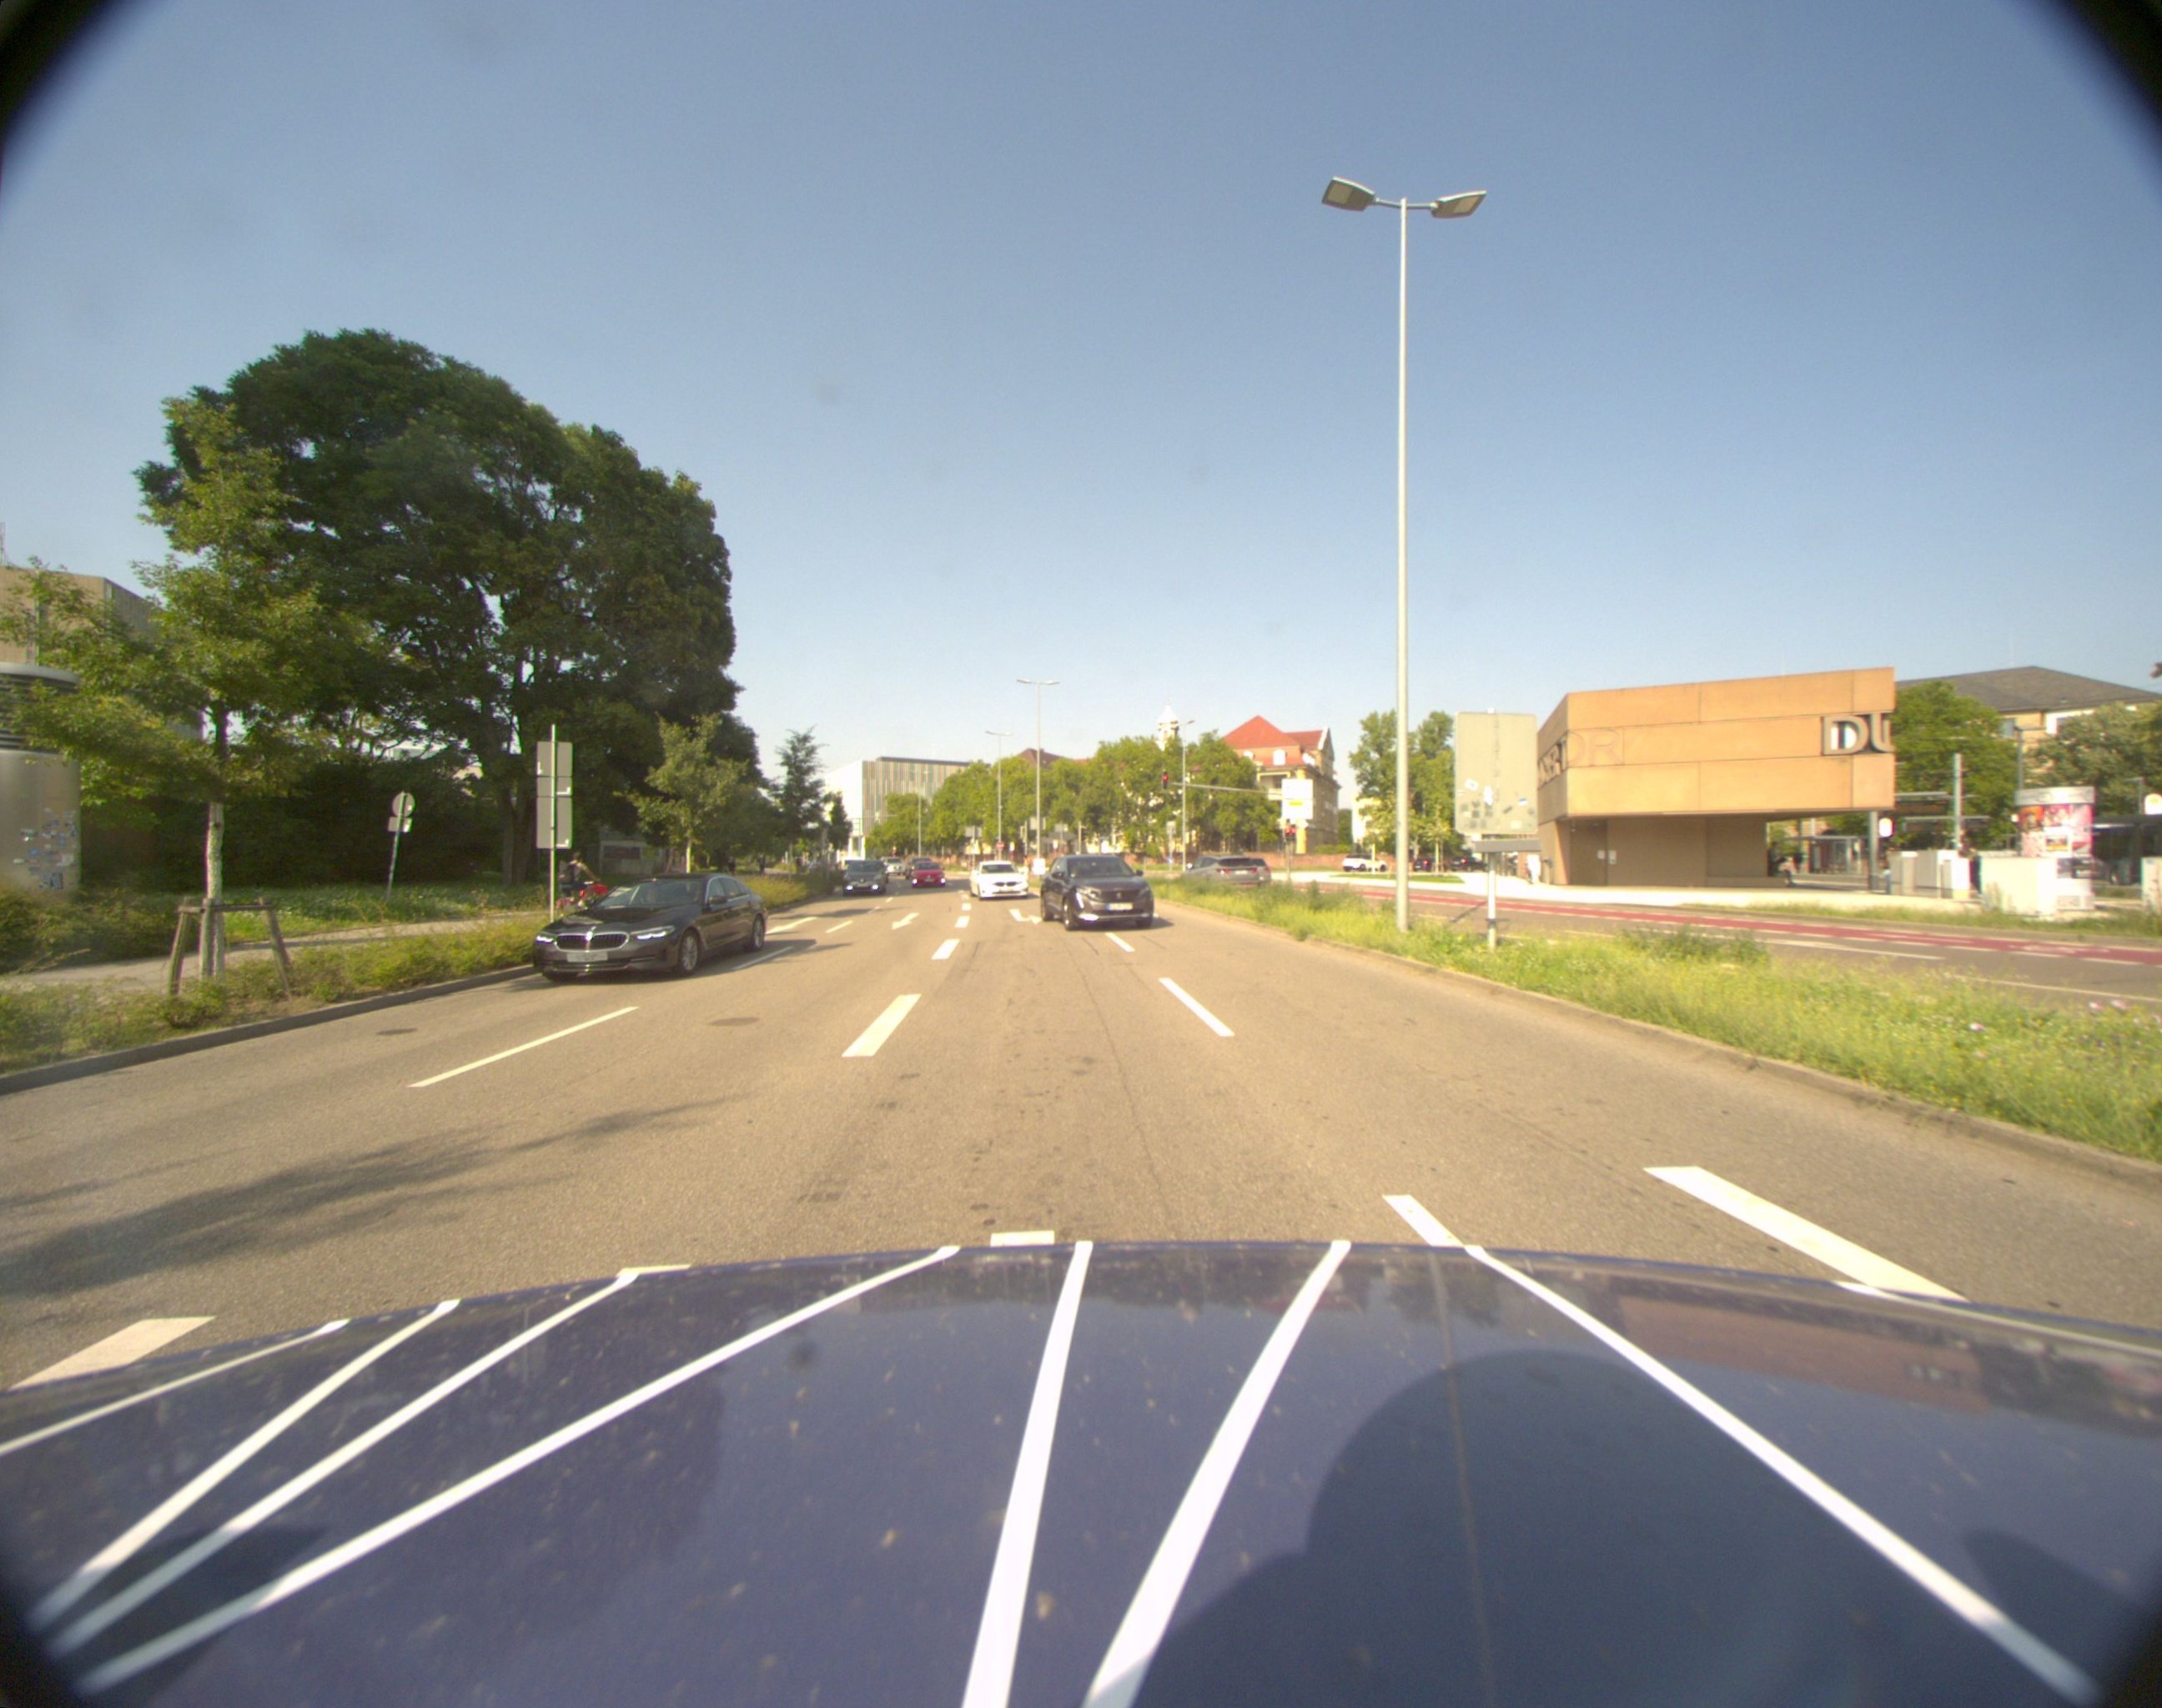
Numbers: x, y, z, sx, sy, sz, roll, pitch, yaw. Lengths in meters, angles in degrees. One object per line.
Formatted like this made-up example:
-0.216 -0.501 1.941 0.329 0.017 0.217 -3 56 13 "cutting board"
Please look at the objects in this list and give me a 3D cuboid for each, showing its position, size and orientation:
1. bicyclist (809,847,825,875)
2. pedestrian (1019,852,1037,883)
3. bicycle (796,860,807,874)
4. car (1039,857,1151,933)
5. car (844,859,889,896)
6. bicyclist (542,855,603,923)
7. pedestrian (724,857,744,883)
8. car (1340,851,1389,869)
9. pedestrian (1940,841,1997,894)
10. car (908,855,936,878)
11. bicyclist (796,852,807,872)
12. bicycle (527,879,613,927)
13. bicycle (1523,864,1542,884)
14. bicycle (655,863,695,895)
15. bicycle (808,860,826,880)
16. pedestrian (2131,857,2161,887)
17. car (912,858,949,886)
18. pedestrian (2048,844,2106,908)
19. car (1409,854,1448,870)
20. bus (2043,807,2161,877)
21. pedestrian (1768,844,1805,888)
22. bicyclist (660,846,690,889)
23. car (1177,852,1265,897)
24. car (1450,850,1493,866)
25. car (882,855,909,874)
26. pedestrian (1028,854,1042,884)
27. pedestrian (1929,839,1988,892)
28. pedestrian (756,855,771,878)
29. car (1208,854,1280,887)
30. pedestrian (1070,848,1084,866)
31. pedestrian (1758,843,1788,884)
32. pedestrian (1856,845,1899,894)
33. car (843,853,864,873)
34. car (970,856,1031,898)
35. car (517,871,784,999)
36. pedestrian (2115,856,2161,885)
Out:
-15.217 0.422 43.795 0.774 1.583 0.923 0 0 -13 "bicyclist"
-2.809 0.697 40.446 0.667 1.644 0.780 0 0 23 "pedestrian"
-22.822 1.067 61.954 0.774 1.111 2.299 -1 0 -22 "bicycle"
0.174 0.819 17.345 1.688 1.483 4.368 0 0 -11 "car"
-10.073 1.027 35.472 1.785 1.596 4.414 0 0 -18 "car"
-11.533 0.776 17.259 0.721 1.504 1.004 0 1 -2 "bicyclist"
-19.198 0.869 42.035 0.727 1.435 0.857 0 1 -5 "pedestrian"
25.932 0.529 69.545 4.380 1.624 1.995 0 0 -33 "car"
26.957 0.393 23.091 0.863 1.550 0.992 0 1 32 "pedestrian"
-12.098 0.894 57.748 1.785 1.682 4.527 0 0 -16 "car"
-22.801 0.643 61.913 0.774 1.666 0.922 -1 1 -22 "bicyclist"
-11.535 1.083 17.234 0.721 0.954 1.921 0 0 -3 "bicycle"
20.273 0.899 34.119 0.591 0.833 1.550 -3 -1 27 "bicycle"
-15.313 0.933 28.702 0.774 1.111 2.301 -1 0 -14 "bicycle"
-15.228 0.880 43.848 0.774 1.111 2.301 0 0 -13 "bicycle"
41.437 0.673 29.206 1.028 1.126 0.739 0 1 17 "pedestrian"
-8.516 0.987 42.830 1.689 1.483 4.366 0 0 -16 "car"
28.360 0.606 21.646 0.699 1.790 0.781 0 1 23 "pedestrian"
34.188 0.785 74.656 3.856 1.489 1.621 -1 1 -32 "car"
47.583 -0.503 32.104 3.291 2.960 12.819 0 0 26 "bus"
27.655 0.456 29.794 0.864 1.695 0.733 0 1 22 "pedestrian"
-15.305 0.505 28.641 0.774 1.584 0.923 -1 1 -14 "bicyclist"
5.342 0.745 29.601 1.700 1.608 4.456 0 0 -14 "car"
39.980 0.415 77.734 4.380 1.623 1.995 0 0 -33 "car"
-17.510 0.971 71.529 1.786 1.710 4.524 0 0 -23 "car"
-2.606 0.840 42.995 0.669 1.689 0.691 0 0 -14 "pedestrian"
27.792 0.359 24.071 0.990 1.663 0.865 0 1 -15 "pedestrian"
-24.944 1.013 59.746 0.961 1.772 1.001 2 0 -16 "pedestrian"
7.471 0.728 35.251 1.820 1.425 4.221 0 0 -9 "car"
-0.457 0.359 84.822 1.080 2.002 1.316 -1 1 -22 "pedestrian"
29.572 0.416 32.477 0.717 1.727 0.858 0 1 24 "pedestrian"
26.995 0.513 25.754 0.717 1.621 0.858 0 1 24 "pedestrian"
-22.949 0.899 76.572 1.690 1.930 4.364 0 0 -21 "car"
-3.238 0.837 29.893 1.785 1.474 4.527 0 0 -14 "car"
-6.378 1.080 11.992 1.687 1.483 4.672 -1 0 -3 "car"
41.855 0.647 29.970 1.028 1.126 0.739 0 1 17 "pedestrian"
